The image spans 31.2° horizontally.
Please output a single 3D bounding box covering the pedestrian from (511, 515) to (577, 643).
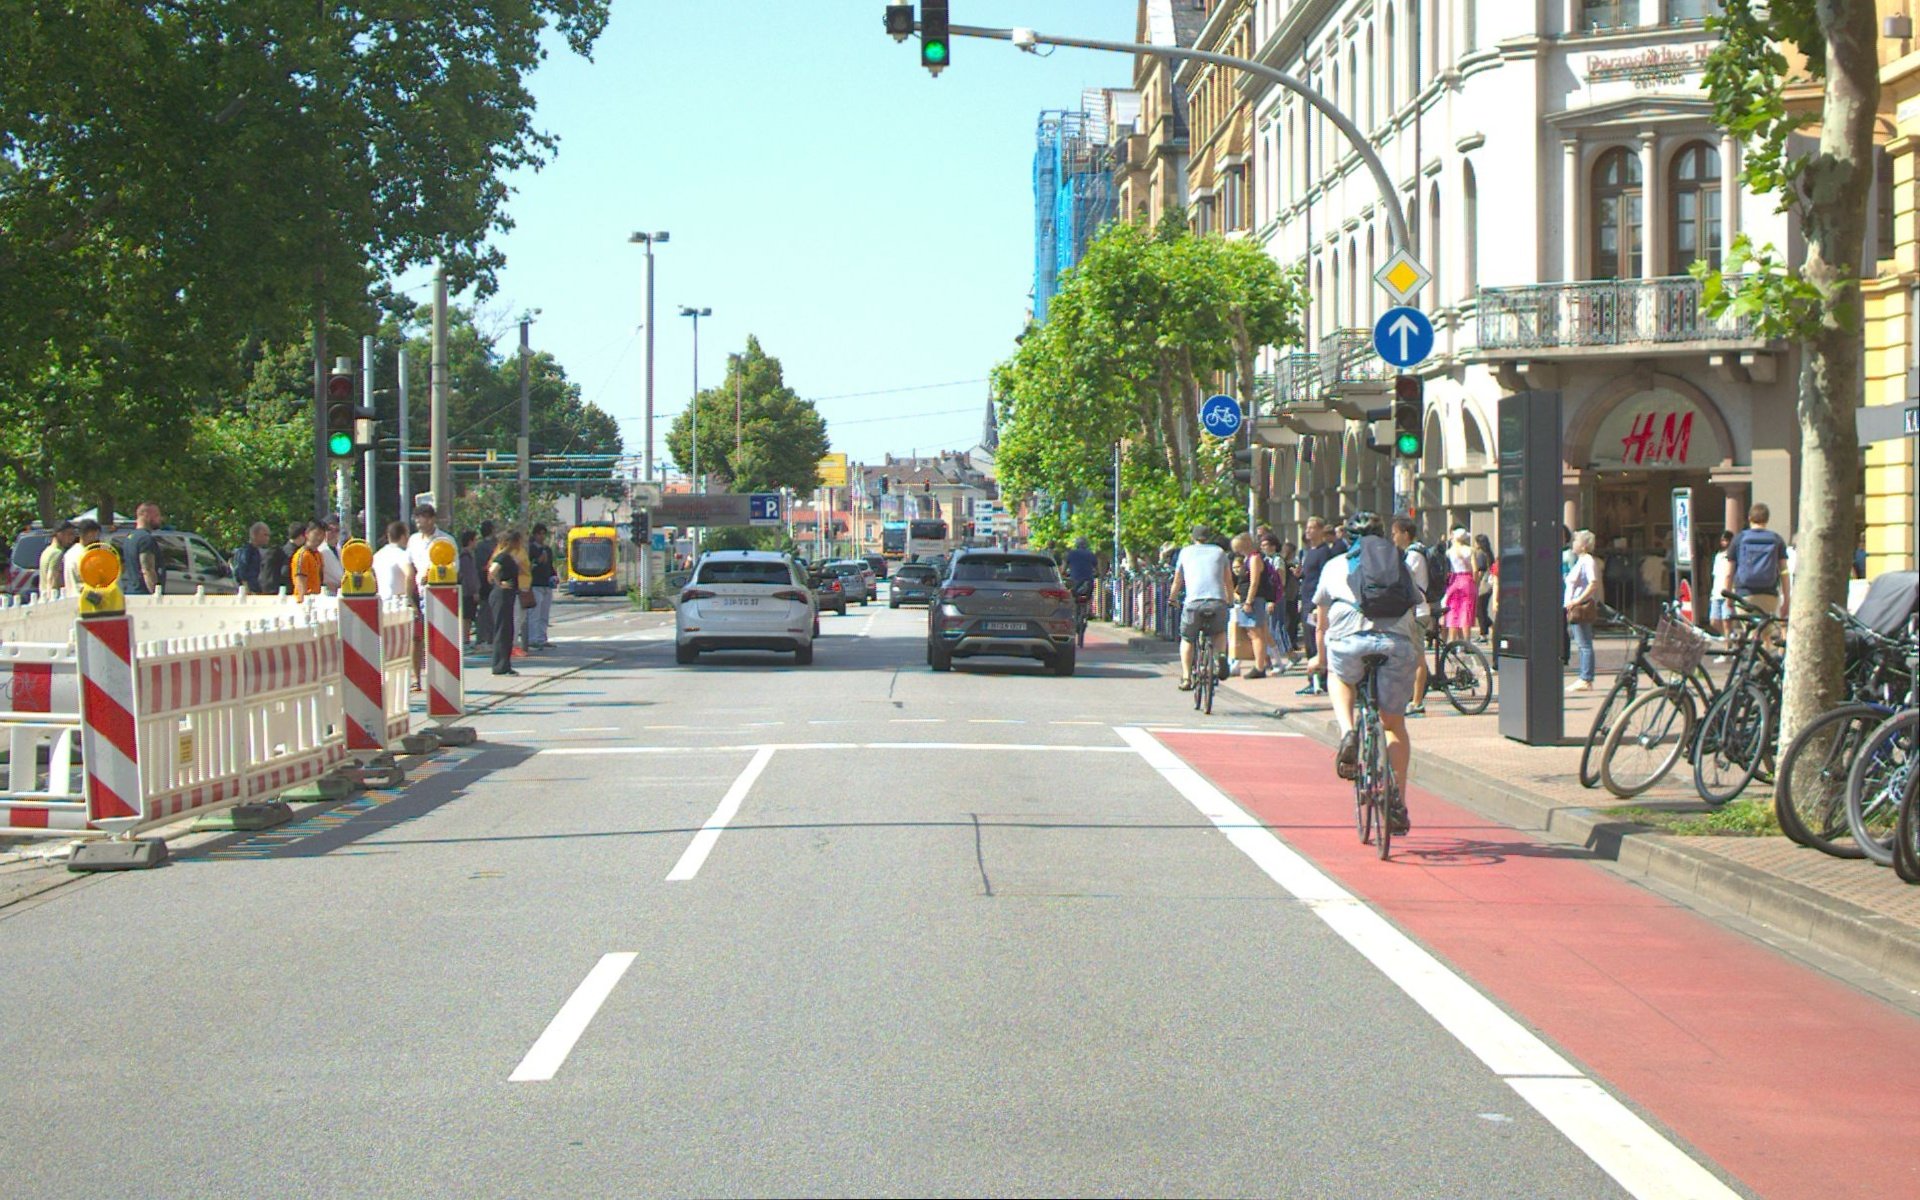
[{"bbox_3d":[-5.990,-0.300,49.536,0.633,1.828,0.730,0,0,29],"label":"pedestrian"}]

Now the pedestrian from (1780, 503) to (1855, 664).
[{"bbox_3d":[9.662,-0.188,38.720,0.549,1.795,0.588,-1,0,-45],"label":"pedestrian"}]

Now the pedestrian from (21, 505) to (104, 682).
[{"bbox_3d":[-8.938,-0.071,34.263,0.584,1.715,0.789,0,4,1],"label":"pedestrian"}]

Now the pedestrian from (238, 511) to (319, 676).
[{"bbox_3d":[-7.712,-0.078,38.903,0.633,1.852,0.686,0,0,20],"label":"pedestrian"}]

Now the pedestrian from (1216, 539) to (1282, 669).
[{"bbox_3d":[3.488,0.047,41.549,0.610,1.510,0.678,-4,0,-2],"label":"pedestrian"}]

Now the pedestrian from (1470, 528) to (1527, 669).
[{"bbox_3d":[6.245,-0.019,39.899,0.522,1.606,0.641,-1,0,0],"label":"pedestrian"}]

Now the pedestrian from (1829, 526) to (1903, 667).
[{"bbox_3d":[10.172,-0.038,38.600,0.549,1.564,0.588,-1,0,-45],"label":"pedestrian"}]

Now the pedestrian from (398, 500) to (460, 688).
[{"bbox_3d":[-5.433,-0.065,35.211,0.532,1.912,0.560,0,0,1],"label":"pedestrian"}]

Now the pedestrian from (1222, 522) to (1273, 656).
[{"bbox_3d":[3.939,-0.155,47.137,0.610,1.817,0.678,0,0,-2],"label":"pedestrian"}]

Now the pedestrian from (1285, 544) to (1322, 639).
[{"bbox_3d":[6.511,-0.165,65.178,0.628,1.785,0.612,0,0,-1],"label":"pedestrian"}]

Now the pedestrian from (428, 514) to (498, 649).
[{"bbox_3d":[-6.871,-0.255,47.528,0.633,1.852,0.730,0,0,29],"label":"pedestrian"}]

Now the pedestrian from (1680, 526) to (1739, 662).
[{"bbox_3d":[9.981,-0.083,45.792,0.610,1.800,0.678,0,0,-2],"label":"pedestrian"}]

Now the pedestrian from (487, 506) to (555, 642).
[{"bbox_3d":[-5.838,-0.347,45.724,0.633,1.788,0.730,0,0,20],"label":"pedestrian"}]

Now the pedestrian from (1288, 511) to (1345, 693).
[{"bbox_3d":[3.747,0.020,36.153,0.523,1.891,0.641,-1,0,3],"label":"pedestrian"}]

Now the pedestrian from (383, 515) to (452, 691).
[{"bbox_3d":[-5.452,0.031,34.568,0.576,1.752,0.638,0,0,1],"label":"pedestrian"}]

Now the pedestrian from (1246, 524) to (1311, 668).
[{"bbox_3d":[3.982,-0.050,43.005,0.610,1.753,0.678,-4,0,-2],"label":"pedestrian"}]

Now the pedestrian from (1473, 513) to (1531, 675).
[{"bbox_3d":[6.151,-0.072,39.024,0.522,1.817,0.641,-1,0,0],"label":"pedestrian"}]

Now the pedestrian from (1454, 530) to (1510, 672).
[{"bbox_3d":[6.005,0.008,39.571,0.522,1.603,0.641,-1,0,0],"label":"pedestrian"}]

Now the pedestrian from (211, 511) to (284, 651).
[{"bbox_3d":[-9.240,-0.246,44.582,0.633,1.804,0.730,0,0,20],"label":"pedestrian"}]

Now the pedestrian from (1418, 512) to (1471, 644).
[{"bbox_3d":[6.761,-0.307,48.017,0.610,1.817,0.678,0,0,-2],"label":"pedestrian"}]

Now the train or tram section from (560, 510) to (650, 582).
[{"bbox_3d":[-16.884,-2.586,164.223,2.613,3.337,11.001,1,1,3],"label":"train or tram section"}]

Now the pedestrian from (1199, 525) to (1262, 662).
[{"bbox_3d":[3.507,-0.087,44.586,0.610,1.733,0.678,-4,0,-2],"label":"pedestrian"}]

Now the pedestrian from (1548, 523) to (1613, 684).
[{"bbox_3d":[6.369,0.032,35.314,0.549,1.634,0.589,-1,0,3],"label":"pedestrian"}]

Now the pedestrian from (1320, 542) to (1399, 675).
[{"bbox_3d":[5.747,0.120,49.501,0.610,1.800,0.678,-15,1,-2],"label":"pedestrian"}]

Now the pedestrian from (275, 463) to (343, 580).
[{"bbox_3d":[-9.911,-1.193,52.336,0.679,1.758,0.765,0,0,29],"label":"pedestrian"}]

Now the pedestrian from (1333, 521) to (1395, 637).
[{"bbox_3d":[5.990,-0.319,50.961,0.610,1.699,0.678,-1,1,-28],"label":"pedestrian"}]

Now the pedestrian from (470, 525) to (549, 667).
[{"bbox_3d":[-5.091,-0.051,38.901,0.633,1.590,0.686,0,0,20],"label":"pedestrian"}]

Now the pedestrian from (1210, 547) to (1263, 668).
[{"bbox_3d":[3.918,0.101,48.739,0.582,1.668,0.605,-3,0,-2],"label":"pedestrian"}]

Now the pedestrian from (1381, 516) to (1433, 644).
[{"bbox_3d":[6.344,-0.279,48.809,0.610,1.800,0.678,0,0,-2],"label":"pedestrian"}]

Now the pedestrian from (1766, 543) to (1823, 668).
[{"bbox_3d":[11.043,0.069,45.509,0.540,1.627,0.678,1,0,-2],"label":"pedestrian"}]

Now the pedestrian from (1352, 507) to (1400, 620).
[{"bbox_3d":[6.589,-0.575,54.517,0.675,1.785,0.612,0,0,-1],"label":"pedestrian"}]

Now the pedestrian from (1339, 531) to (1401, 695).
[{"bbox_3d":[4.108,0.130,34.492,0.549,1.625,0.589,-1,0,3],"label":"pedestrian"}]

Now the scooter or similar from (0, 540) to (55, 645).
[{"bbox_3d":[-13.168,-0.108,46.830,1.278,1.416,1.037,0,0,30],"label":"scooter or similar"}]
